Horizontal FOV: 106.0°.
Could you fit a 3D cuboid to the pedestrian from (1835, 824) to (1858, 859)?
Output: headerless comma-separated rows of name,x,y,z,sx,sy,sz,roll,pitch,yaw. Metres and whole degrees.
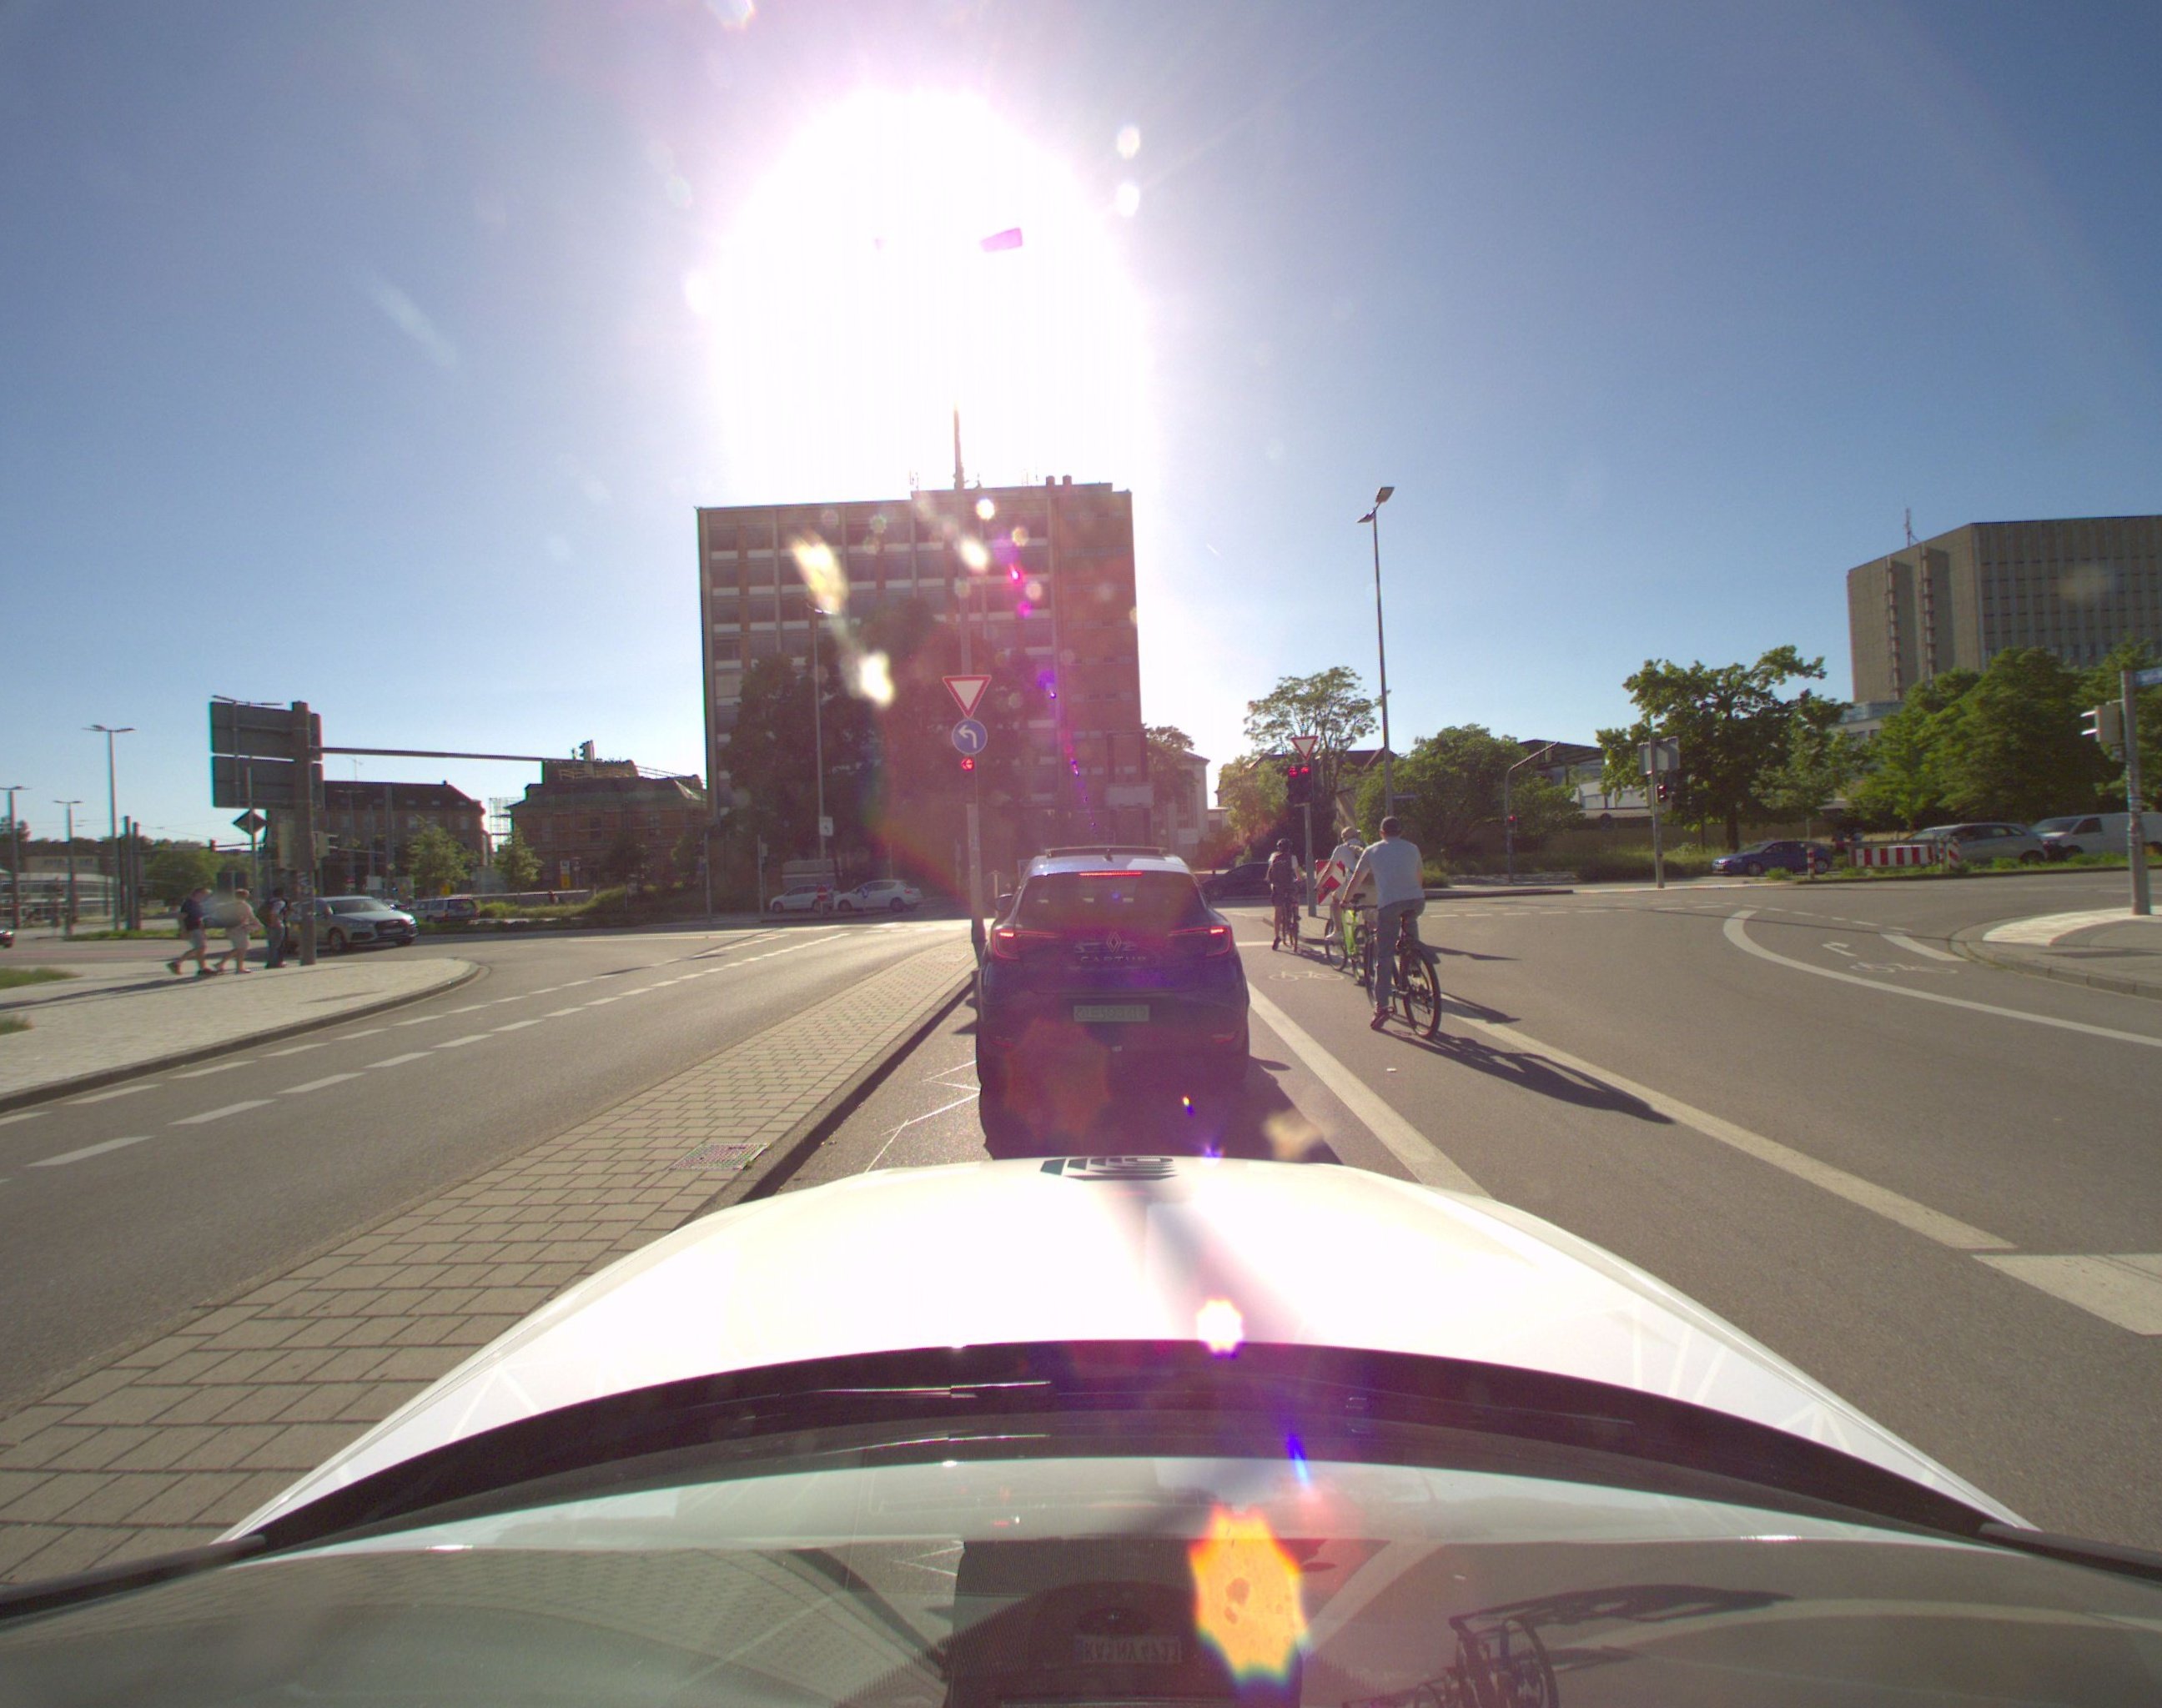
pedestrian,37.450,-0.591,39.858,0.559,1.695,0.528,-3,-1,5

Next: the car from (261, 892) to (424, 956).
car,-21.947,2.086,24.198,4.207,1.581,1.803,-4,0,21

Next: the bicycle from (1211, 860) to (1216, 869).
bicycle,15.252,1.231,93.881,0.403,0.973,1.686,0,-1,6

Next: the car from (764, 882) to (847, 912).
car,-14.592,2.253,43.151,3.807,1.435,1.750,-3,-2,16

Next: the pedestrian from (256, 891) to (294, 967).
pedestrian,-19.222,1.775,19.426,0.600,1.729,0.572,-2,-1,-45

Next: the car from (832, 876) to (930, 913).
car,-8.890,1.793,36.333,3.812,1.435,1.748,-2,-1,10

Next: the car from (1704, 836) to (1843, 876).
car,28.757,0.075,33.930,4.142,1.435,1.746,-2,-1,7

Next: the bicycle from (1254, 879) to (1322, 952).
bicycle,3.243,0.929,12.934,0.735,0.995,2.177,0,-1,6

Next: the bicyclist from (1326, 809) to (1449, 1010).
bicyclist,2.708,0.469,7.296,0.748,1.668,1.017,0,-1,3

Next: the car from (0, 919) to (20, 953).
car,-52.678,4.019,38.917,4.722,1.505,1.831,-5,0,31

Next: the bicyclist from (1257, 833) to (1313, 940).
bicyclist,3.234,0.502,12.988,0.722,1.629,0.970,0,-1,6

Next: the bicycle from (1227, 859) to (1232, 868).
bicycle,17.182,1.075,94.174,0.403,0.973,1.686,0,-1,6

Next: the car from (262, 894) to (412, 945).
car,-27.697,2.421,30.357,4.652,1.619,1.851,-4,-3,14

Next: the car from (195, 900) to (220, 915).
car,-125.223,7.674,116.730,3.948,2.013,2.013,-3,-1,38

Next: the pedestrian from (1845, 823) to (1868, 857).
pedestrian,38.794,-0.687,40.741,0.559,1.695,0.528,-3,-1,5

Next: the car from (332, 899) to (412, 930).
car,-42.580,3.626,48.899,4.334,1.632,1.854,-3,-1,23

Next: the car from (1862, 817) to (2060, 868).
car,28.135,-0.359,26.167,4.025,1.408,1.872,-2,-1,8

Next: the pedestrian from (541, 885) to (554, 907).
pedestrian,-41.074,3.234,62.691,0.541,1.615,0.653,-3,-1,41

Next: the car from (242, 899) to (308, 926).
car,-53.820,3.927,54.374,4.331,1.632,1.855,-3,-1,27

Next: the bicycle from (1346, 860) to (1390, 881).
bicycle,14.968,0.853,42.511,2.064,0.964,0.600,-3,-1,9

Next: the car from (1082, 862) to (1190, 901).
car,2.623,1.296,38.495,4.791,1.632,1.850,-2,-1,12

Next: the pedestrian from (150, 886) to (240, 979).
pedestrian,-18.408,1.614,16.930,0.696,1.800,1.110,-6,-3,31

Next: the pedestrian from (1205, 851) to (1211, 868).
pedestrian,14.239,0.623,91.313,0.609,1.856,0.468,-2,-1,7

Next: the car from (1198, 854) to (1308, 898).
car,7.172,0.914,34.108,4.344,1.632,1.850,-2,-1,11

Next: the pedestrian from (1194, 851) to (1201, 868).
pedestrian,12.887,0.562,90.143,0.620,1.856,0.564,-2,-1,5

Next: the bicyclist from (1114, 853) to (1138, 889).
bicyclist,2.434,0.920,44.113,1.094,1.867,0.655,-3,0,12

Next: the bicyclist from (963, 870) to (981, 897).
bicyclist,-5.894,1.599,44.054,0.741,1.441,0.593,-2,-1,-25

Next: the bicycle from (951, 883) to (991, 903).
bicycle,-5.932,2.115,44.027,2.016,0.964,0.593,-2,-1,-25

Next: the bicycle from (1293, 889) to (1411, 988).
bicycle,3.210,0.957,9.852,0.657,1.003,1.967,0,-1,-4

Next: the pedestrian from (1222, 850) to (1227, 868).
pedestrian,16.208,0.604,92.184,0.473,2.014,0.469,-2,-1,8

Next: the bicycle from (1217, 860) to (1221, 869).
bicycle,15.870,1.226,93.823,0.403,0.973,1.686,0,-1,6

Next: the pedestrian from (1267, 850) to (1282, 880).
pedestrian,10.602,0.582,44.659,0.732,1.603,0.601,-3,-1,14

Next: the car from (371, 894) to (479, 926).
car,-33.552,2.845,41.662,4.846,1.388,1.852,-3,-1,17

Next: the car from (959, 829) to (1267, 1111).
car,0.199,0.694,6.803,1.798,1.632,3.999,-1,0,0

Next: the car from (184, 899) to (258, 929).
car,-53.577,3.722,50.731,4.332,1.632,1.855,-3,-1,25

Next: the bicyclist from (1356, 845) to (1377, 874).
bicyclist,14.897,0.291,42.505,0.931,1.429,0.600,-3,-1,10

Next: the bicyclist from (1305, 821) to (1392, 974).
bicyclist,3.211,0.496,9.851,0.644,1.739,1.065,0,-1,-4

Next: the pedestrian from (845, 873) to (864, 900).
pedestrian,-14.317,2.055,51.384,0.853,1.571,0.561,-5,-1,15

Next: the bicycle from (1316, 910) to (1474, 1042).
bicycle,2.716,1.012,7.297,0.737,0.896,1.980,0,-1,3

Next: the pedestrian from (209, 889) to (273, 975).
pedestrian,-17.450,1.621,16.914,0.784,1.690,0.794,-7,-3,37

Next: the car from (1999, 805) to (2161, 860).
car,41.048,-0.838,33.137,4.855,2.107,2.003,0,-1,5

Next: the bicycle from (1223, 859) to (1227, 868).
bicycle,16.648,1.079,94.173,0.403,0.973,1.686,0,-1,6

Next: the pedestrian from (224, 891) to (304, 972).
pedestrian,-18.151,1.706,18.112,0.900,1.690,0.839,-4,-3,-3

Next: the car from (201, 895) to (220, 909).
car,-136.451,7.522,127.638,3.949,2.013,2.012,-3,-1,43
